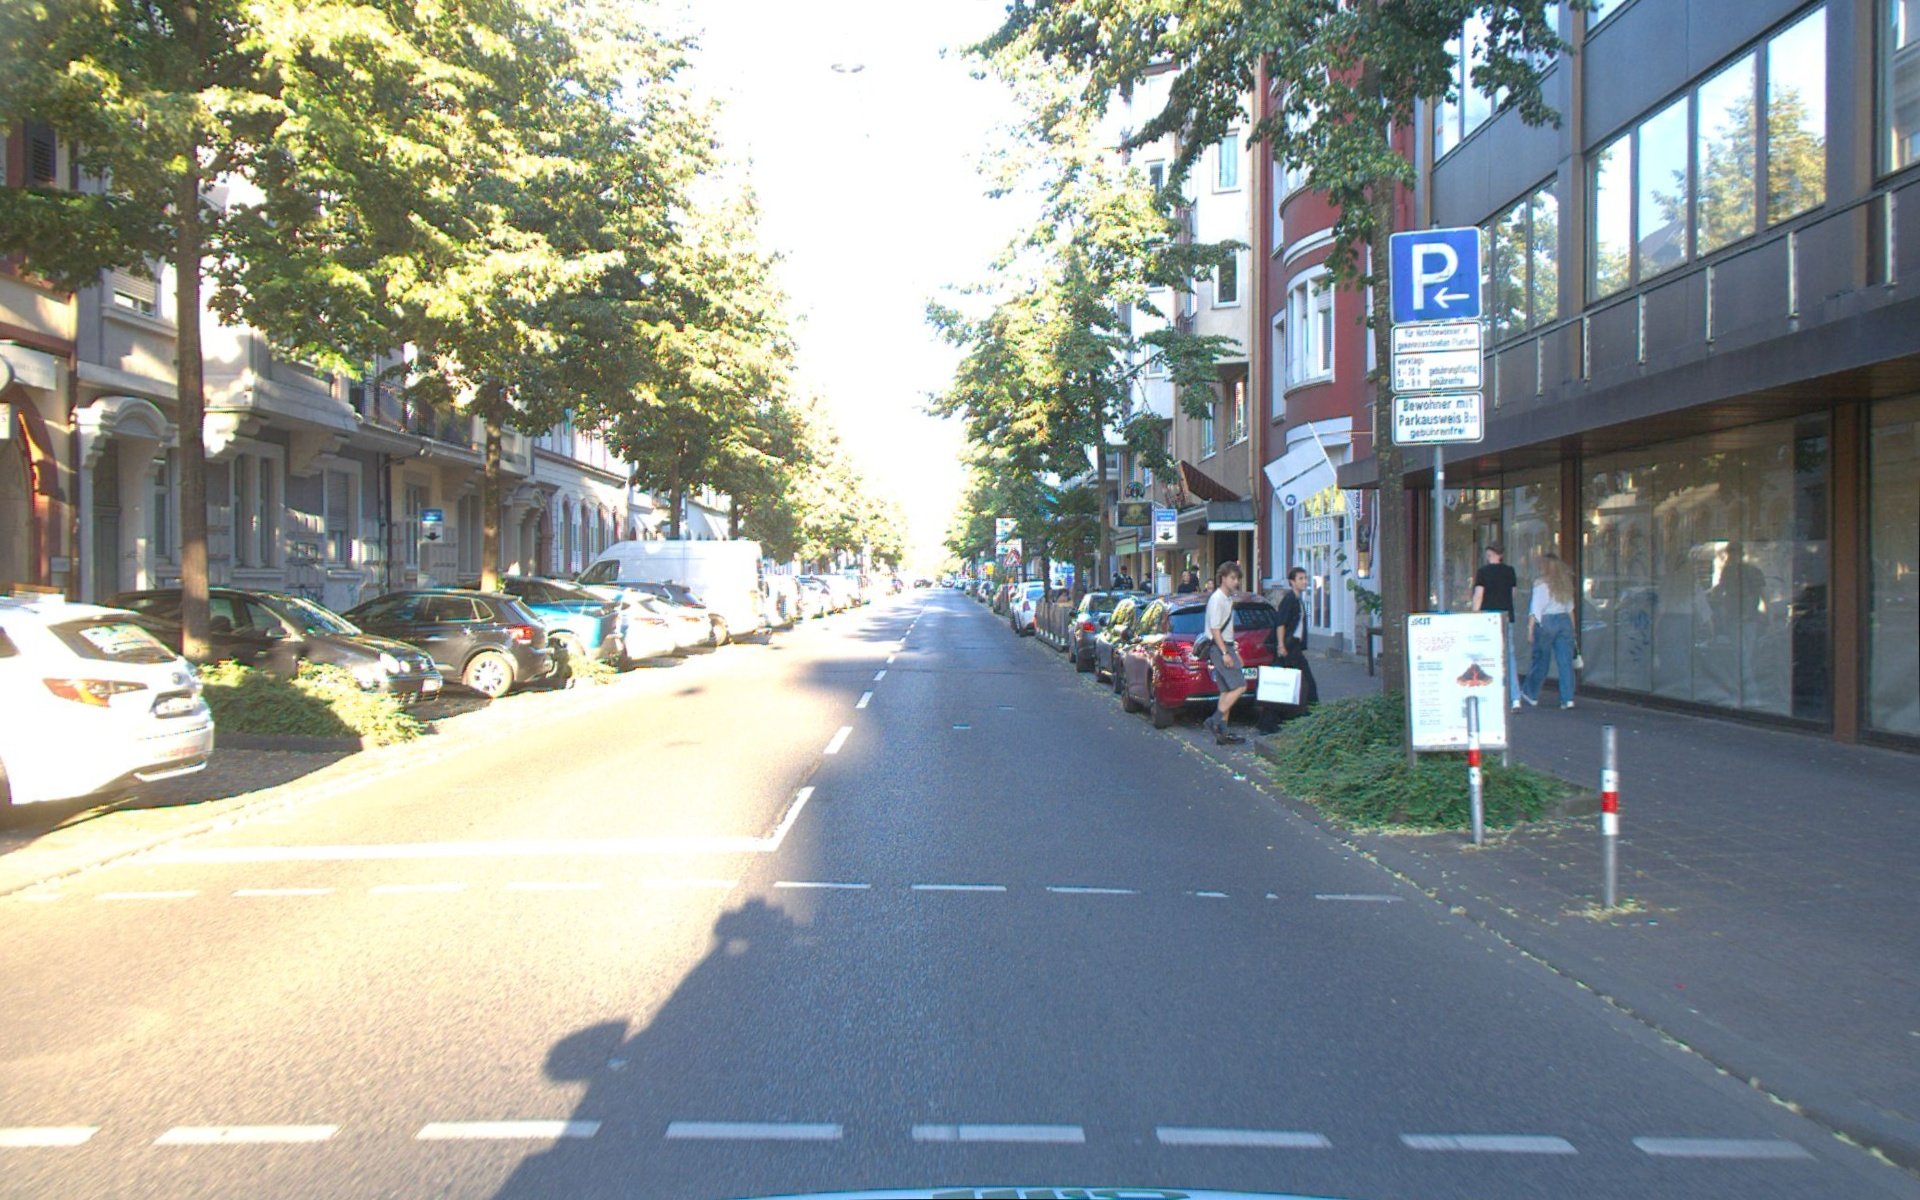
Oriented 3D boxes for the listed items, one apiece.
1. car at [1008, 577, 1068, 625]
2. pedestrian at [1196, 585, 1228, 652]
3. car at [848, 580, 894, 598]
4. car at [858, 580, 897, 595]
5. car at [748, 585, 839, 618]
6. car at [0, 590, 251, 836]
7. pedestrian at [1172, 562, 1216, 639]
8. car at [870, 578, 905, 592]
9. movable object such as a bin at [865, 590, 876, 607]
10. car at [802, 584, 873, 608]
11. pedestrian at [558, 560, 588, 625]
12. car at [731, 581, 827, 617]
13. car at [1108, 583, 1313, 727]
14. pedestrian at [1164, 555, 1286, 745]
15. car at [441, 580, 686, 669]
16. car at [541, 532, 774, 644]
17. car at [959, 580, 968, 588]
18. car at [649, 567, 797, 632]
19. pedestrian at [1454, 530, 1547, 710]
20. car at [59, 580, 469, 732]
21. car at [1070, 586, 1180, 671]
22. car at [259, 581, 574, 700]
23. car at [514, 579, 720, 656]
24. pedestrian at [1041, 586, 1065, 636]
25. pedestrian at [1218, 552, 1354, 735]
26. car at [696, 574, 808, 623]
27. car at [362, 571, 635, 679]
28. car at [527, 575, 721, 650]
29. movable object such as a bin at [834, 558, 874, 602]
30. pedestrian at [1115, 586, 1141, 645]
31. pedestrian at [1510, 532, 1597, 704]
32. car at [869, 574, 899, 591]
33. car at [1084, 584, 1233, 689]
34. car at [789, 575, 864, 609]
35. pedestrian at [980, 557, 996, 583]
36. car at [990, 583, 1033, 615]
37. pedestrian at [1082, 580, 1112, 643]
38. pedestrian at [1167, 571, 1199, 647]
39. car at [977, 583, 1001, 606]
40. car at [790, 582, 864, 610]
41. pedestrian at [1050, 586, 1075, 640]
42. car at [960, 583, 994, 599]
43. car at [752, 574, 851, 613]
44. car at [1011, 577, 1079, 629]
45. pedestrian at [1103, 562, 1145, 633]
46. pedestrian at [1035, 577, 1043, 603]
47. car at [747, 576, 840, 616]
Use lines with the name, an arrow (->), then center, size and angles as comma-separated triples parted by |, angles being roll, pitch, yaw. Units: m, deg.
car -> 2.770, 0.009, 59.619 | 1.841, 1.601, 4.691 | -2, 1, 0
pedestrian -> 5.784, 0.416, 37.959 | 0.611, 1.514, 0.640 | -1, 0, 0
car -> -8.903, -1.119, 166.261 | 4.478, 1.727, 2.060 | 1, 0, 0
car -> -9.357, -1.377, 187.828 | 4.351, 1.595, 1.919 | 1, 0, 0
car -> -7.551, 0.060, 75.392 | 3.955, 1.509, 1.963 | 0, 1, -1
car -> -7.268, 0.653, 10.975 | 4.293, 1.448, 1.822 | 2, 1, -1
pedestrian -> 6.004, 0.008, 42.385 | 0.786, 1.916, 0.874 | 0, 2, 37
car -> -9.306, -1.901, 211.726 | 4.351, 1.789, 1.919 | 1, 0, 0
movable object such as a bin -> -5.999, -0.120, 111.157 | 0.675, 1.124, 0.883 | -1, 0, 1
car -> -8.065, -0.287, 109.105 | 4.498, 1.495, 1.893 | 1, 1, 2
pedestrian -> -10.956, -0.217, 46.831 | 0.648, 1.833, 0.780 | 0, 0, -1
car -> -7.660, -0.049, 70.204 | 3.977, 1.487, 1.685 | 0, 1, -3
car -> 2.985, 0.588, 20.650 | 1.687, 1.518, 4.751 | -2, 1, -1
pedestrian -> 2.661, 0.498, 16.600 | 0.854, 1.816, 0.728 | -4, 0, 41
car -> -7.353, 0.439, 31.002 | 4.101, 1.508, 1.970 | 2, 1, -2
car -> -7.690, -0.309, 42.474 | 5.543, 2.667, 2.171 | 2, 0, -1
car -> 0.582, -2.492, 261.688 | 1.482, 1.298, 3.304 | 1, 0, 0
car -> -7.551, -0.017, 53.050 | 4.407, 1.987, 1.919 | 1, 0, 1
pedestrian -> 5.941, 0.206, 18.225 | 0.612, 1.900, 0.976 | -3, 0, -1
car -> -7.556, 0.575, 18.201 | 3.707, 1.474, 1.790 | 2, 1, 1
car -> 3.182, 0.498, 32.799 | 1.738, 1.465, 5.001 | -2, 1, 1
car -> -7.547, 0.539, 23.243 | 3.837, 1.473, 1.696 | 2, 0, -4
car -> -7.501, 0.366, 36.427 | 4.127, 1.532, 1.793 | 2, 1, -1
pedestrian -> 2.561, 0.304, 45.639 | 0.565, 1.342, 0.704 | -2, 0, 0
pedestrian -> 3.414, 0.440, 17.306 | 0.928, 1.816, 1.044 | -3, 0, 41
car -> -7.948, -0.078, 63.397 | 4.052, 1.838, 1.807 | 0, 0, 1
car -> -7.757, 0.407, 28.140 | 4.148, 1.679, 1.891 | 1, 1, -5
car -> -7.867, 0.278, 39.007 | 4.126, 1.628, 1.975 | 2, 1, 0
movable object such as a bin -> -7.545, -1.431, 118.653 | 2.571, 3.021, 5.302 | 0, 0, -1
pedestrian -> 3.936, 0.360, 38.815 | 0.536, 1.368, 0.438 | -2, 0, -1
pedestrian -> 6.604, 0.193, 18.433 | 0.577, 1.841, 0.835 | -3, 0, -1
car -> -11.413, -2.610, 249.233 | 4.351, 2.477, 1.919 | 1, 0, 0
car -> 3.122, 0.519, 26.790 | 1.739, 1.496, 4.417 | -2, 1, -1
car -> -8.086, -0.476, 100.670 | 4.391, 2.010, 2.068 | 1, 1, 0
pedestrian -> 2.058, -2.191, 120.701 | 0.995, 1.857, 0.778 | -2, 0, -11
car -> 2.571, -0.061, 84.250 | 1.792, 1.514, 4.847 | -2, 1, -3
pedestrian -> 3.350, 0.277, 40.523 | 0.618, 1.511, 0.795 | -2, 0, -1
pedestrian -> 5.061, 0.201, 37.530 | 0.611, 1.706, 0.640 | -1, 0, 0
car -> 2.208, -0.427, 125.595 | 1.652, 1.602, 4.013 | -2, 1, 0
car -> -7.775, -0.227, 96.528 | 4.242, 1.527, 1.840 | 1, 1, -6
pedestrian -> 2.721, 0.340, 43.946 | 0.565, 1.409, 0.603 | -2, 0, 0
car -> 1.871, -0.989, 182.287 | 1.645, 1.616, 3.800 | 1, 0, 42
car -> -7.953, -0.352, 83.207 | 4.771, 1.941, 1.973 | 0, 1, -1
car -> 2.693, 0.063, 53.392 | 1.804, 1.506, 5.189 | -2, 1, -1
pedestrian -> 4.564, -0.082, 46.095 | 0.866, 1.916, 0.794 | -2, 2, -30
pedestrian -> 5.858, -0.716, 122.856 | 0.452, 1.908, 0.499 | -1, 1, -16
car -> -8.086, -0.214, 80.493 | 4.337, 1.902, 1.894 | 0, 1, 0
